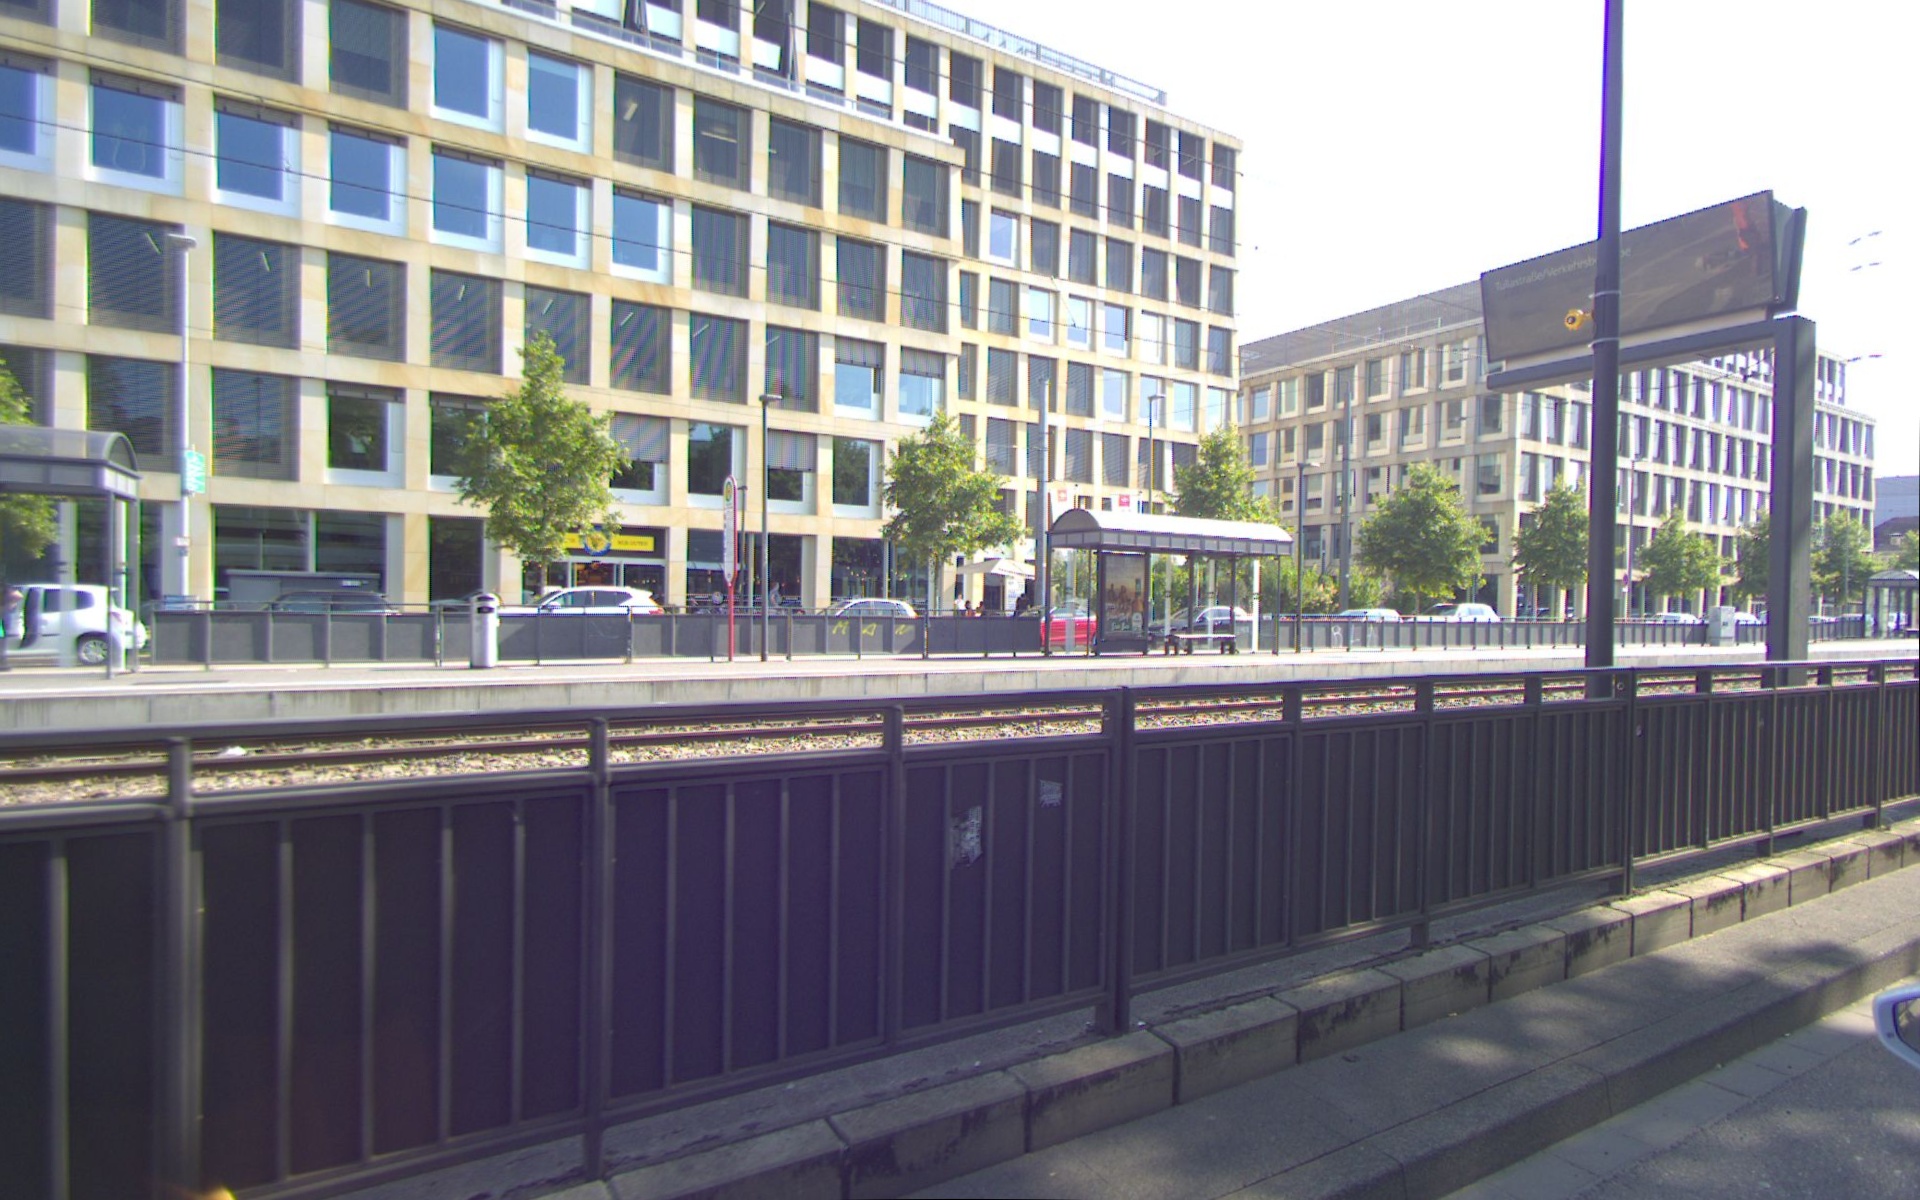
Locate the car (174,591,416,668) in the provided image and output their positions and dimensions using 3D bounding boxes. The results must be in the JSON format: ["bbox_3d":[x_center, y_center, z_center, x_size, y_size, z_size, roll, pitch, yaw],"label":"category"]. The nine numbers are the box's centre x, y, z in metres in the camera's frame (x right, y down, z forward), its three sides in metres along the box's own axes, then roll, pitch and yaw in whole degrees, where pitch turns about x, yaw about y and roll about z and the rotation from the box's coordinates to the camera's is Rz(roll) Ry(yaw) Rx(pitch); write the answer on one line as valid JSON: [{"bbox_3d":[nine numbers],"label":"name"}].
[{"bbox_3d":[-13.414,0.571,20.524,3.956,1.422,1.891,1,0,-32],"label":"car"}]

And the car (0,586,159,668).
[{"bbox_3d":[-17.178,0.477,18.180,3.956,1.422,1.891,1,0,-32],"label":"car"}]

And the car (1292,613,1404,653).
[{"bbox_3d":[14.563,1.220,37.620,4.325,1.426,1.674,1,0,-32],"label":"car"}]

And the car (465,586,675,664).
[{"bbox_3d":[-9.028,0.564,23.369,4.275,1.647,1.779,1,0,-34],"label":"car"}]

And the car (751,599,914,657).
[{"bbox_3d":[-3.362,0.722,26.711,3.956,1.426,1.780,1,0,-32],"label":"car"}]

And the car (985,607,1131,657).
[{"bbox_3d":[3.024,0.941,30.552,4.325,1.426,1.674,1,0,-32],"label":"car"}]

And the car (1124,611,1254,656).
[{"bbox_3d":[7.697,1.103,33.648,4.325,1.426,1.674,1,0,-32],"label":"car"}]

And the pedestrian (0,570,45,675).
[{"bbox_3d":[-15.863,0.361,16.561,0.866,1.699,0.836,1,0,-19],"label":"pedestrian"}]

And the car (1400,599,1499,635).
[{"bbox_3d":[20.127,0.696,41.246,4.322,1.426,1.674,1,0,-32],"label":"car"}]
